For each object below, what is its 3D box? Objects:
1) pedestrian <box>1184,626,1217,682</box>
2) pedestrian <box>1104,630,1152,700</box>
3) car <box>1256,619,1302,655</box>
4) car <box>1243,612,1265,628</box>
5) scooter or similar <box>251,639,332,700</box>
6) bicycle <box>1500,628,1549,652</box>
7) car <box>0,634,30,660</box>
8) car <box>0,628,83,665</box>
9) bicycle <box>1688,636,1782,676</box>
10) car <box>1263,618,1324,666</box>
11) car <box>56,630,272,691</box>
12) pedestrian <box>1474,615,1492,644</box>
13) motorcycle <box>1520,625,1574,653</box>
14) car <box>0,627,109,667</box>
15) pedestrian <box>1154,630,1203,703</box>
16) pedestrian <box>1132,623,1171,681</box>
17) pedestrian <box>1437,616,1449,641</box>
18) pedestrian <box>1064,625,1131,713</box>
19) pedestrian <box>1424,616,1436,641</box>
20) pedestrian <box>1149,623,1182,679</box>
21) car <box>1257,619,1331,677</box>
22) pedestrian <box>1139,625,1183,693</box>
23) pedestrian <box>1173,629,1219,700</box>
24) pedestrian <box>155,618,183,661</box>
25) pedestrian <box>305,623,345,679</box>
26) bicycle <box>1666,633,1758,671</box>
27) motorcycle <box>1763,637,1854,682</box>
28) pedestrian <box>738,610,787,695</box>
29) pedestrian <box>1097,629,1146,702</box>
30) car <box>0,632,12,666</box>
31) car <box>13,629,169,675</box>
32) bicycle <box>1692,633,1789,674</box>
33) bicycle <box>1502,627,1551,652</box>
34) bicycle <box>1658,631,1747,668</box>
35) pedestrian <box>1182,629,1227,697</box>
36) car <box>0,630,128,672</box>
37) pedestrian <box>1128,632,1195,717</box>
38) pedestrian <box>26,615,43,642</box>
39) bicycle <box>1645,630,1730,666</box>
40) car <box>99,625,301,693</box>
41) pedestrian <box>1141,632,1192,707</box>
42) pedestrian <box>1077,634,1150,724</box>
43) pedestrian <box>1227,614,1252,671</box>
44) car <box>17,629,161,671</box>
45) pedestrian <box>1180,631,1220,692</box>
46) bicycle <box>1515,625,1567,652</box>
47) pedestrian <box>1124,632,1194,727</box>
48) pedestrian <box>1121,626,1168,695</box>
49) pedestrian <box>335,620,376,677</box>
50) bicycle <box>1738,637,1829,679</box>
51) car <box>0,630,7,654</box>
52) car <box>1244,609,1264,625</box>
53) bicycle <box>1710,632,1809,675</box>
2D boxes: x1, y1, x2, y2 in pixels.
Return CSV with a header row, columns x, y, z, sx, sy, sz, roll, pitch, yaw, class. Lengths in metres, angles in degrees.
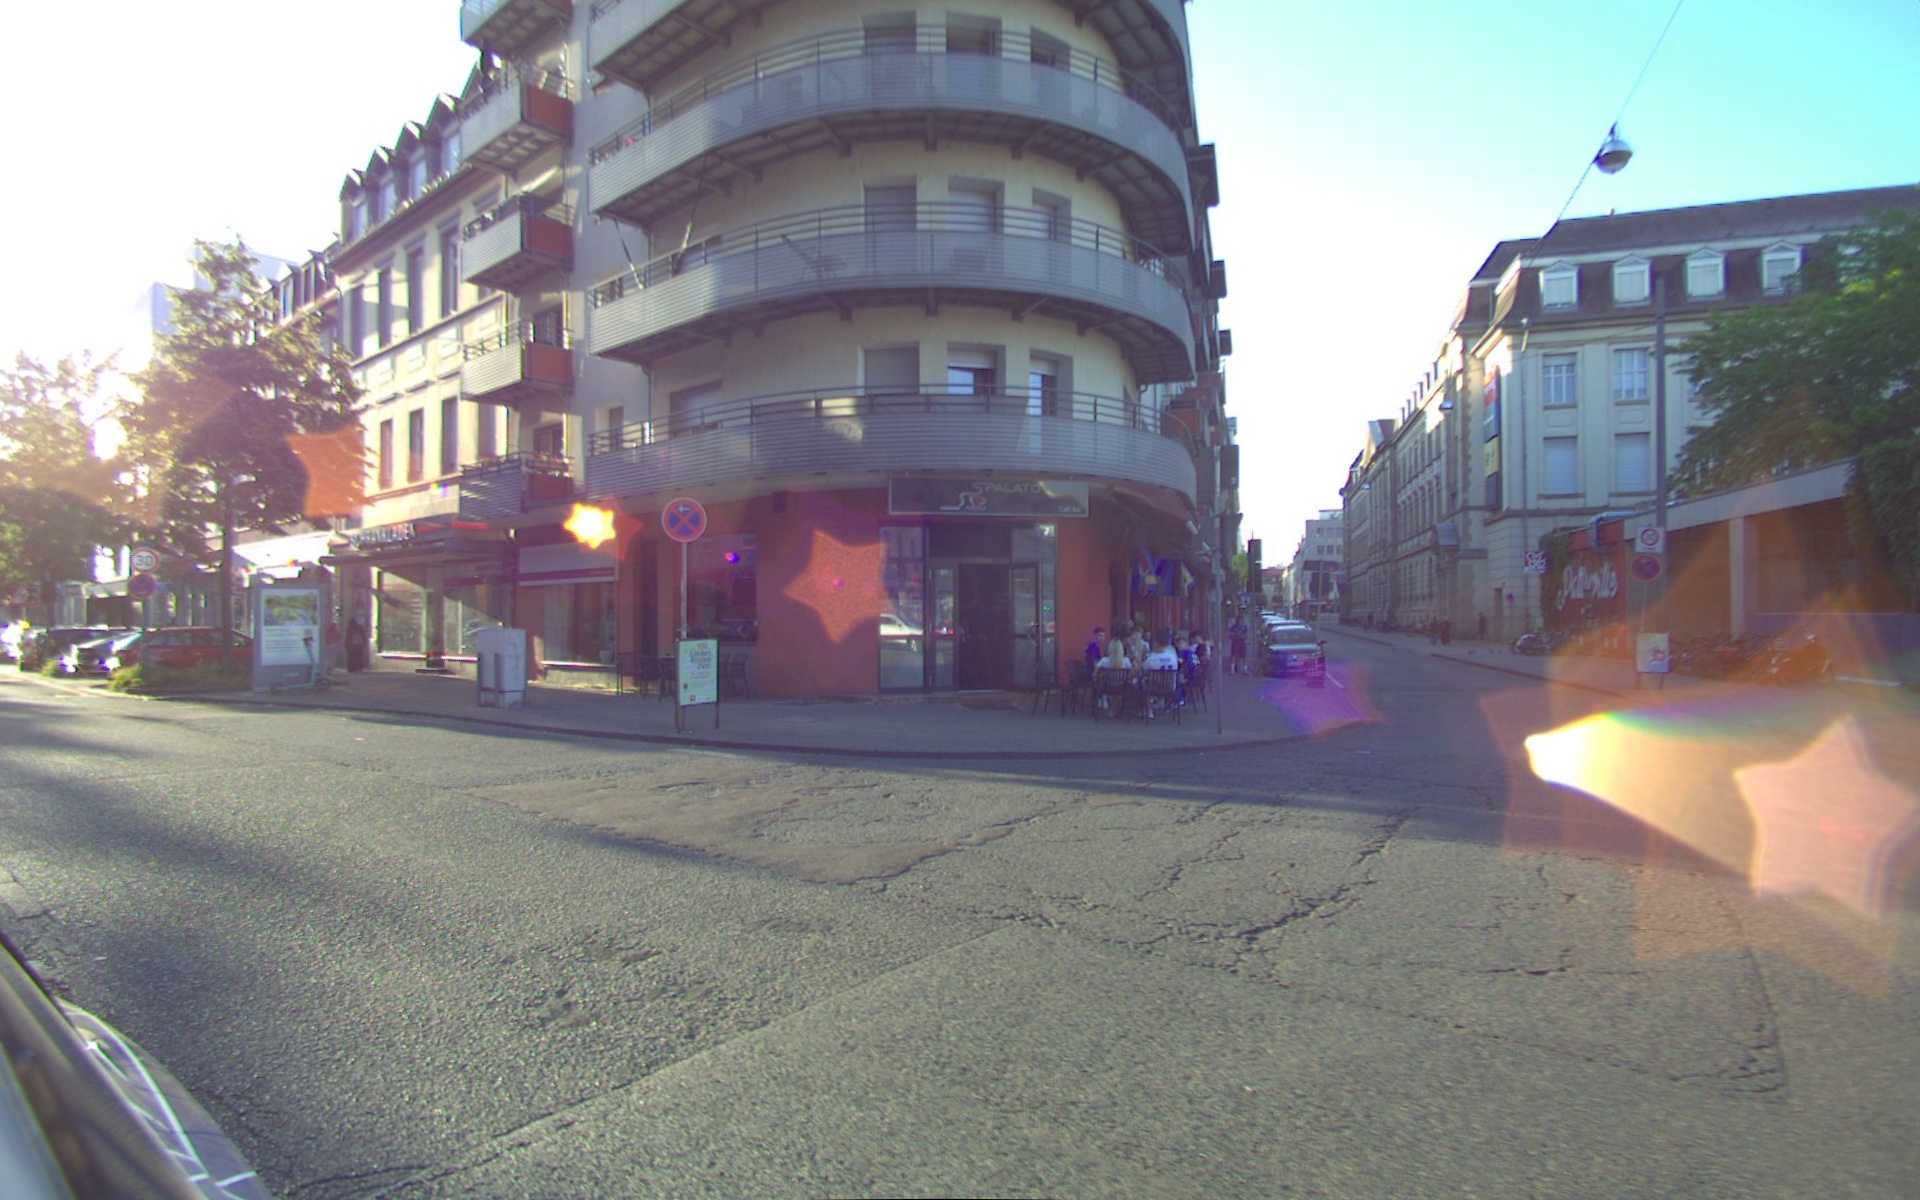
x,y,z,sx,sy,sz,roll,pitch,yaw,class
5.807,1.292,24.428,0.696,1.297,0.618,0,-1,19,pedestrian
3.134,1.195,18.847,0.699,1.256,0.615,0,-1,31,pedestrian
15.116,1.744,47.997,1.954,1.608,3.977,-1,-1,17,car
29.271,1.973,100.730,1.954,1.608,3.977,-1,-1,17,car
-14.666,1.501,22.217,0.525,1.235,1.385,-2,0,37,scooter or similar
24.756,1.746,44.405,1.794,1.016,0.506,-2,-1,25,bicycle
-56.446,2.758,58.192,1.743,1.495,4.230,-2,-1,41,car
-44.919,2.239,48.323,1.888,1.608,4.362,-2,-1,39,car
19.302,1.399,25.229,1.785,0.930,0.509,-2,-1,10,bicycle
11.939,1.475,36.367,1.954,1.608,3.977,-1,-1,17,car
-22.481,1.651,28.745,1.820,1.418,4.525,-2,0,39,car
29.049,1.650,56.178,0.837,1.610,0.729,-2,-2,29,pedestrian
23.867,1.570,41.204,1.791,1.087,0.507,-2,-1,20,motorcycle
-39.045,1.986,43.516,1.714,1.513,3.521,-2,0,39,car
3.960,1.193,18.362,0.699,1.256,0.615,0,-1,31,pedestrian
4.253,1.146,22.426,0.698,1.234,0.616,0,-1,28,pedestrian
26.758,1.575,56.043,0.513,1.407,0.397,-1,-1,13,pedestrian
2.239,1.091,16.431,0.827,1.358,0.740,0,-1,35,pedestrian
26.122,1.587,56.236,0.537,1.407,0.383,-1,-1,14,pedestrian
4.963,1.212,24.402,0.696,1.297,0.618,0,-1,19,pedestrian
10.028,1.389,30.536,1.954,1.608,3.977,-1,-1,17,car
4.127,1.195,20.784,0.699,1.343,0.615,0,-1,31,pedestrian
4.468,1.208,19.149,0.699,1.297,0.615,0,-1,31,pedestrian
-33.467,1.663,42.824,0.875,1.734,0.764,0,1,41,pedestrian
-18.286,1.466,29.133,0.875,1.539,0.726,0,1,41,pedestrian
19.396,1.350,26.139,1.791,0.930,0.507,-2,-1,20,bicycle
18.487,1.289,22.054,1.774,0.887,0.512,-1,-1,-13,motorcycle
-3.866,1.014,19.764,0.750,1.607,0.590,0,-1,42,pedestrian
2.902,1.158,18.168,0.699,1.256,0.615,0,-1,31,pedestrian
-42.889,2.171,42.619,1.764,1.432,4.109,-2,0,38,car
-31.814,1.856,37.139,1.881,1.414,4.067,-2,0,38,car
18.891,1.301,24.525,1.785,0.930,0.509,-2,-1,10,bicycle
24.533,1.723,43.869,1.794,1.016,0.506,-2,-1,25,bicycle
19.603,1.310,26.758,1.791,0.930,0.507,-2,-1,20,bicycle
4.842,1.225,20.014,0.699,1.297,0.615,0,-1,31,pedestrian
-36.166,2.028,40.844,1.803,1.455,3.703,-2,0,38,car
3.166,1.146,15.887,0.827,1.256,0.715,0,-1,35,pedestrian
-63.732,1.952,69.680,0.933,1.762,0.712,-2,1,41,pedestrian
20.128,1.321,28.040,0.502,0.930,1.809,-1,-1,-36,bicycle
-20.370,1.523,27.252,1.883,1.548,4.031,-2,0,40,car
3.625,1.199,17.736,0.699,1.256,0.615,0,-1,31,pedestrian
2.267,1.137,14.897,0.765,1.251,0.890,0,-1,32,pedestrian
7.480,1.122,27.073,0.616,1.480,0.698,1,-1,14,pedestrian
-33.733,1.892,39.262,1.843,1.414,4.053,-2,-1,42,car
5.056,1.281,21.312,0.698,1.234,0.616,0,-1,28,pedestrian
24.049,1.604,41.910,1.793,1.087,0.507,-2,-1,23,bicycle
2.866,1.119,14.542,0.746,1.283,0.820,0,-1,32,pedestrian
3.605,1.171,19.761,0.699,1.297,0.650,0,-1,31,pedestrian
-17.748,1.408,29.710,0.875,1.619,0.764,0,1,41,pedestrian
18.650,1.306,22.925,1.775,0.887,0.512,-1,-1,-10,bicycle
-64.463,2.794,65.523,1.742,1.579,3.829,-2,-1,38,car
30.896,1.787,106.311,1.954,1.608,3.977,-1,-1,17,car
18.828,1.260,23.863,1.783,0.930,0.510,-2,-1,7,bicycle
